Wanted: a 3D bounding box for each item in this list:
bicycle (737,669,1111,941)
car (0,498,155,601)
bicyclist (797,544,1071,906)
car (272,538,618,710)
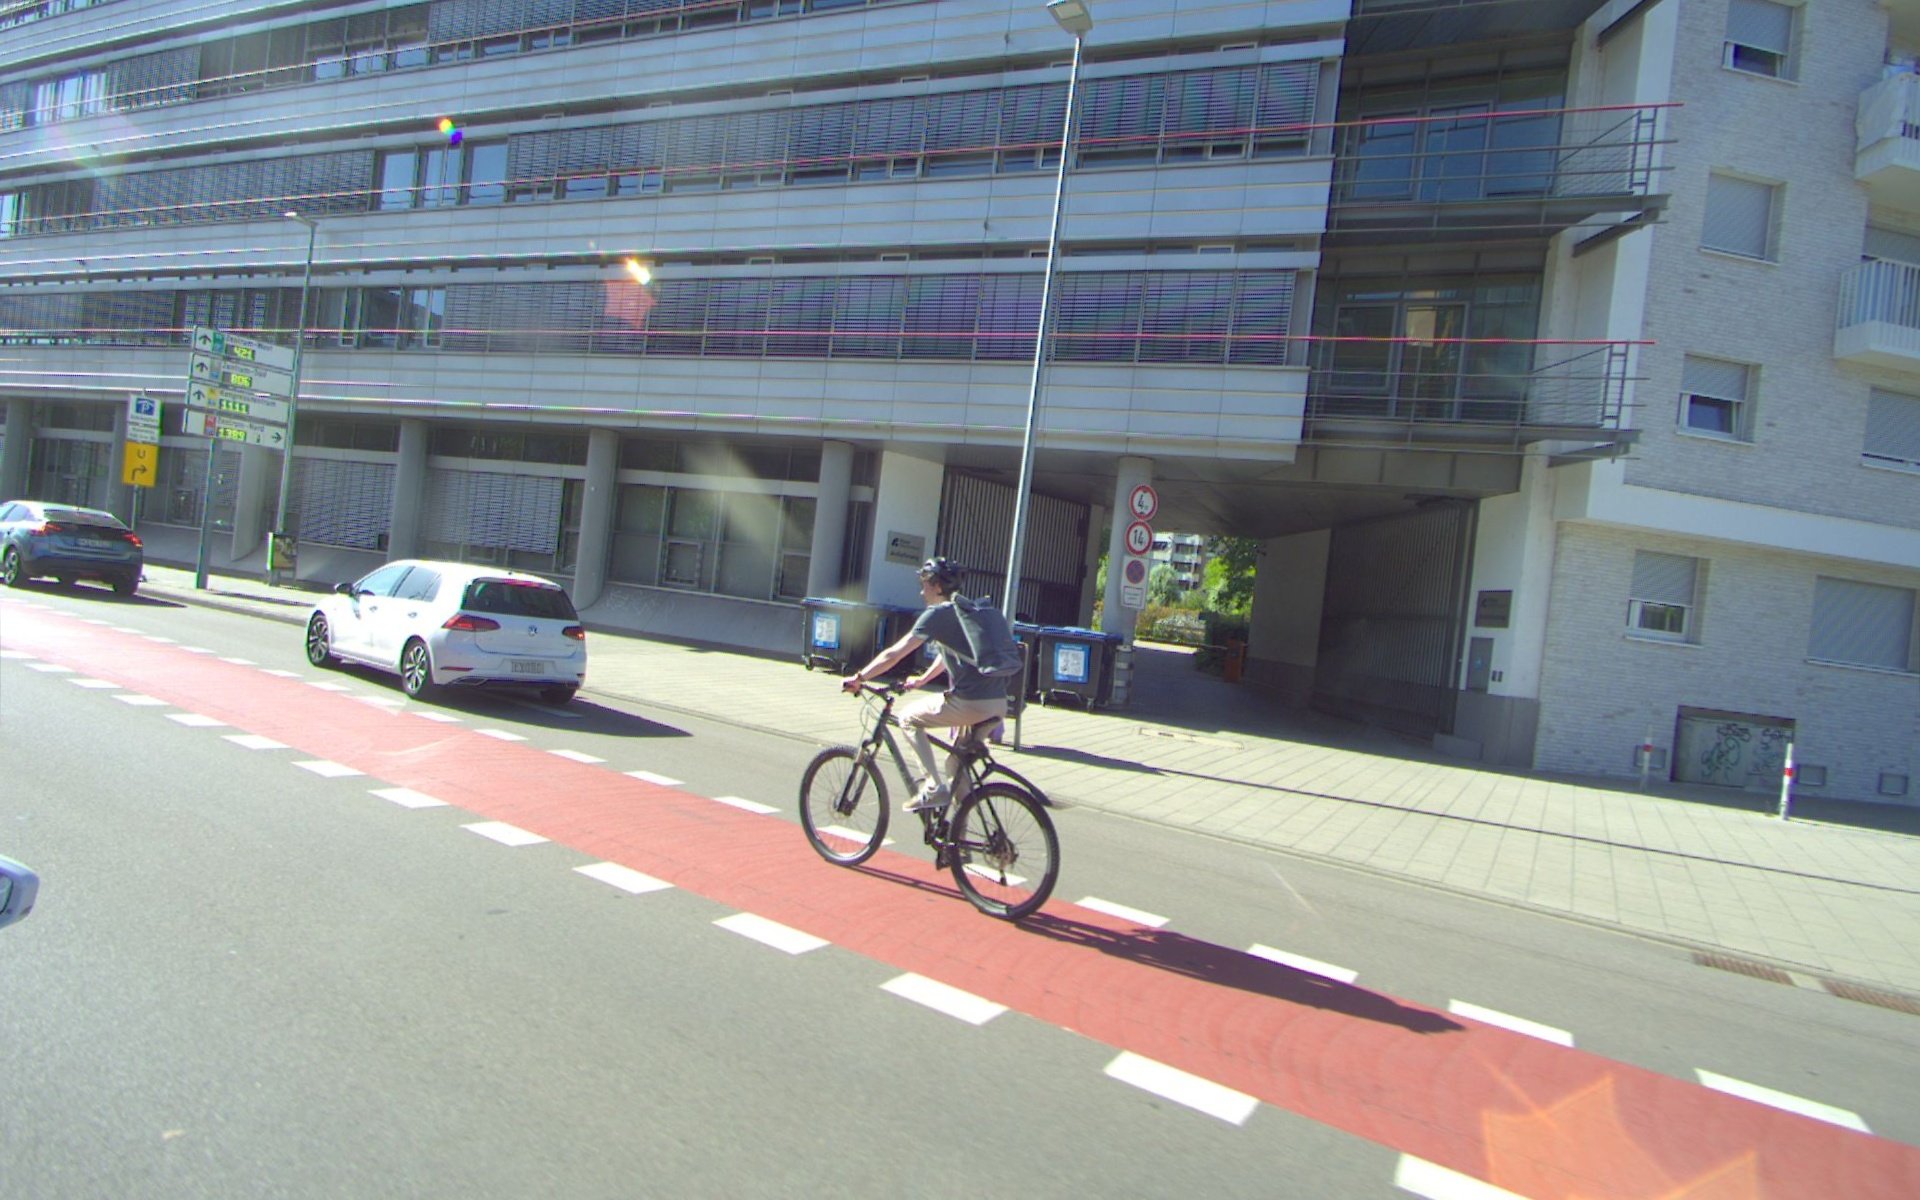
[{"bbox_3d":[-0.235,1.047,5.625,1.862,1.049,0.826,6,-2,35],"label":"bicycle"},{"bbox_3d":[-17.045,-1.019,18.657,4.324,1.543,1.725,6,0,29],"label":"car"},{"bbox_3d":[-0.138,0.633,5.528,1.034,1.713,0.807,7,-1,35],"label":"bicyclist"},{"bbox_3d":[-6.058,0.229,11.654,4.228,1.419,1.774,6,-3,37],"label":"car"}]
